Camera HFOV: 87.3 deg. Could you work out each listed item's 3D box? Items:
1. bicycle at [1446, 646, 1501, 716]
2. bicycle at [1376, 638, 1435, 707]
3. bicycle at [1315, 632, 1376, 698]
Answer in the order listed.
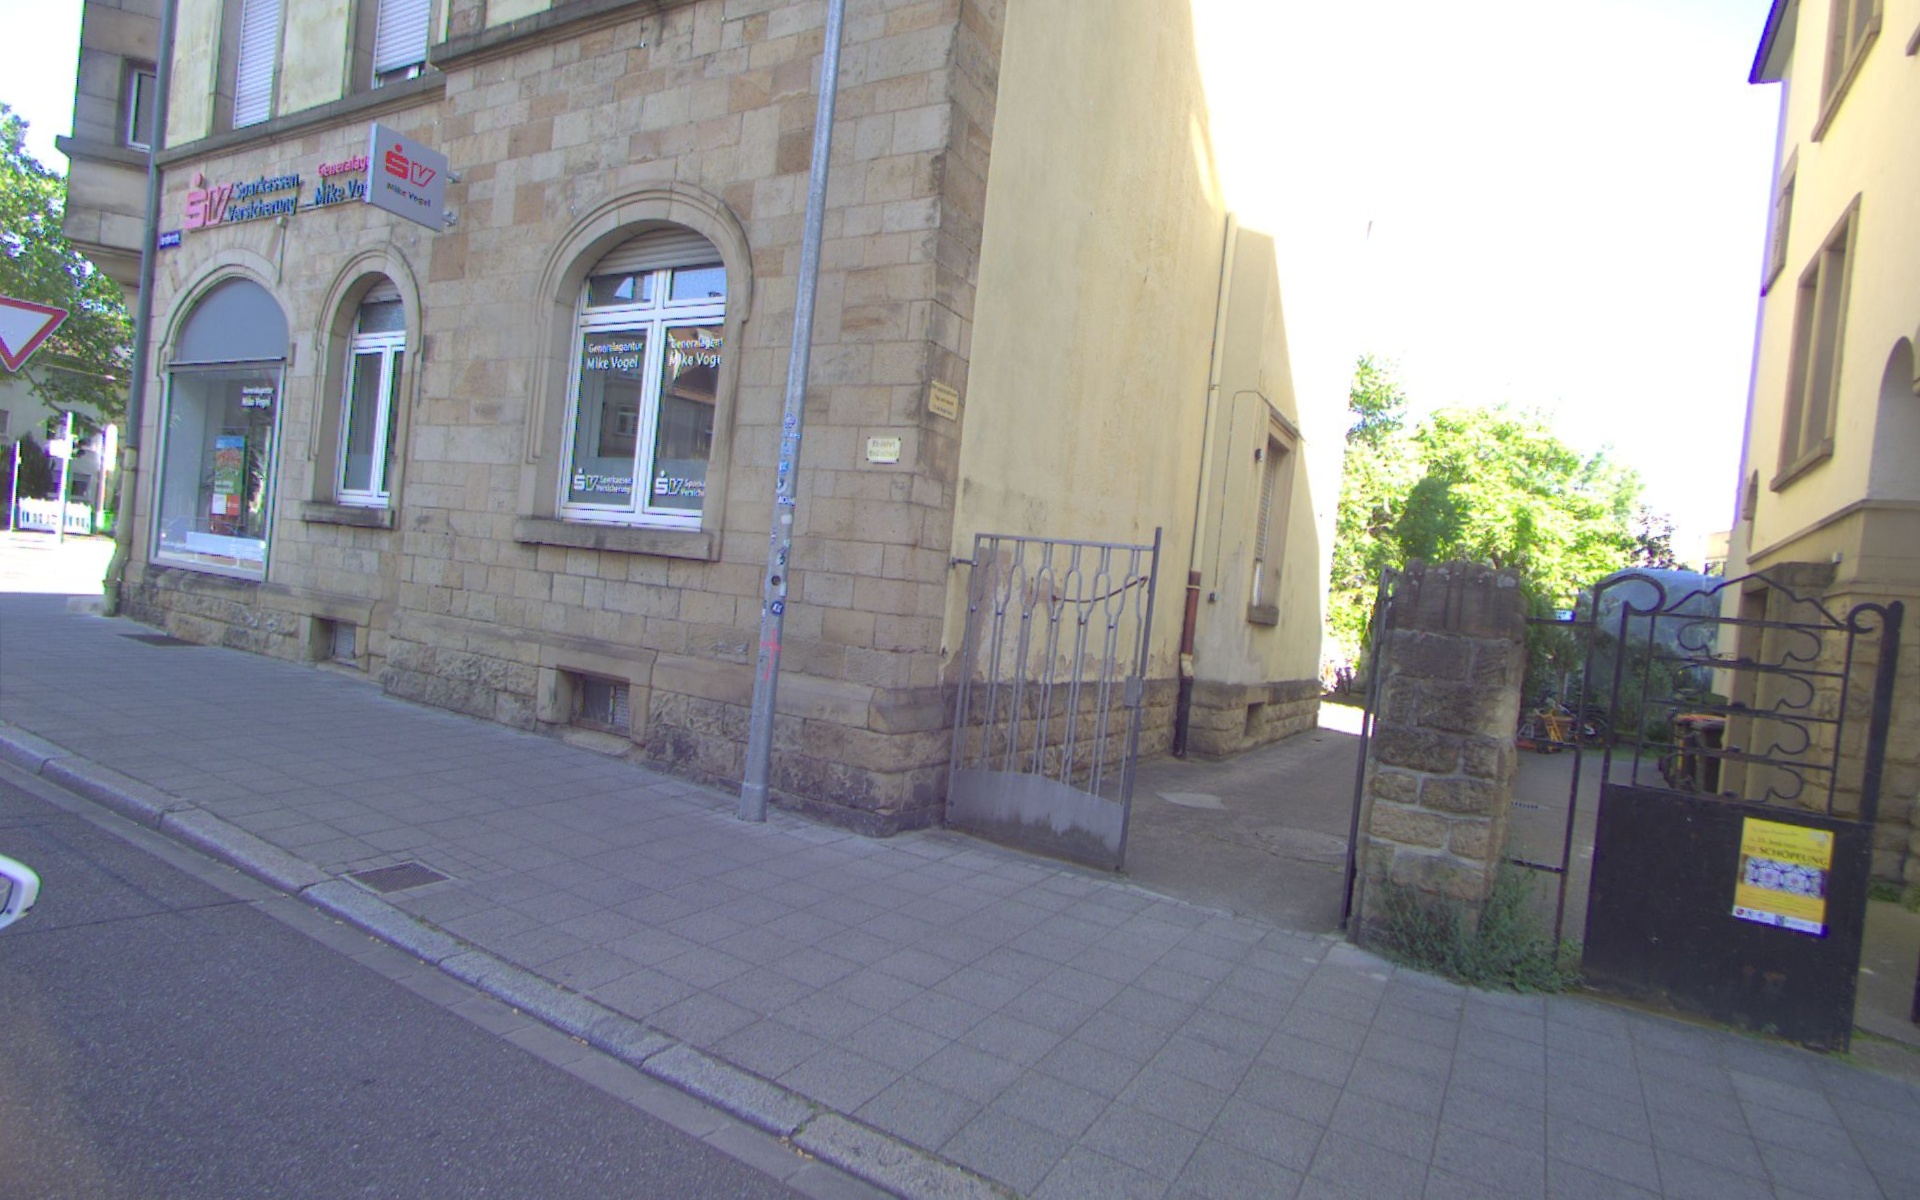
[{"bbox_3d":[12.593,1.936,24.635,0.904,1.532,2.667,6,2,31],"label":"bicycle"},{"bbox_3d":[11.207,1.777,25.249,0.904,1.532,2.667,6,2,31],"label":"bicycle"},{"bbox_3d":[9.974,1.642,25.966,0.904,1.532,2.667,6,2,31],"label":"bicycle"}]
